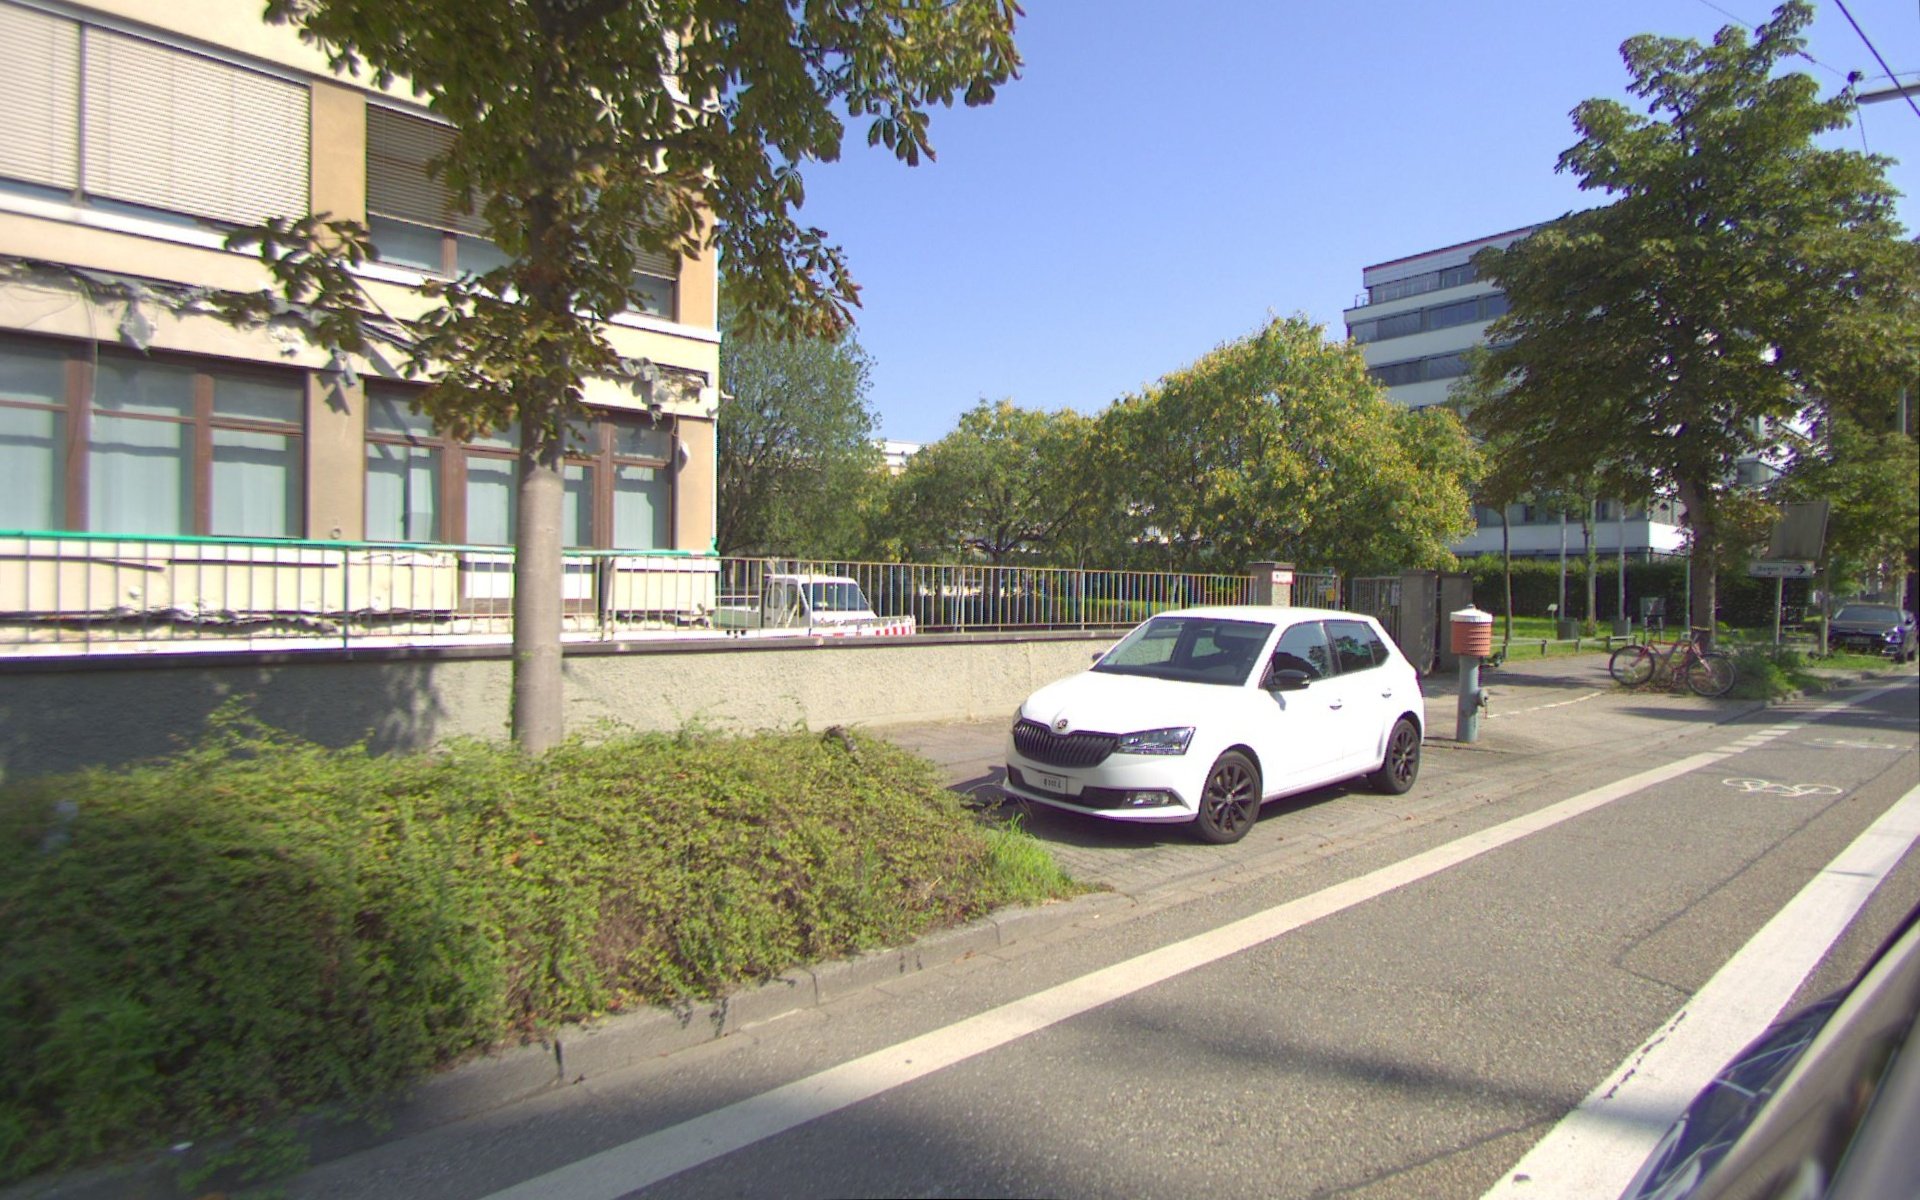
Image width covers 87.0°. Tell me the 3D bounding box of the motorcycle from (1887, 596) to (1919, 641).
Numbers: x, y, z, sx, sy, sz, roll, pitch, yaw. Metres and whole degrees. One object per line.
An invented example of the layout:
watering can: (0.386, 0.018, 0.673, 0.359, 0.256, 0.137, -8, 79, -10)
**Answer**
motorcycle: (32.983, 0.636, 34.254, 0.836, 1.535, 2.456, 0, 0, -2)

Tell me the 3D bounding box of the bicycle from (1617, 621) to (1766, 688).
bicycle: (11.460, 0.827, 15.908, 0.548, 0.970, 1.815, 0, 0, -40)

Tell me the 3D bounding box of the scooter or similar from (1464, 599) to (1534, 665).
scooter or similar: (10.803, 0.618, 20.273, 1.784, 1.275, 0.557, 0, -1, -38)

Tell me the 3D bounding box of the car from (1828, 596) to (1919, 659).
car: (25.047, 0.680, 27.412, 4.530, 1.534, 1.758, 0, 1, -42)

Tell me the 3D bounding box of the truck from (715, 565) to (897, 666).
truck: (-4.147, 0.357, 26.368, 2.257, 2.355, 5.519, 0, 0, -39)

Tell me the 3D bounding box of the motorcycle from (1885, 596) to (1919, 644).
motorcycle: (31.550, 0.638, 33.366, 0.844, 1.535, 2.434, 0, 0, 25)

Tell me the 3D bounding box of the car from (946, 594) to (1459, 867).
car: (2.015, 0.722, 7.666, 4.142, 1.499, 1.662, 0, 1, -40)
